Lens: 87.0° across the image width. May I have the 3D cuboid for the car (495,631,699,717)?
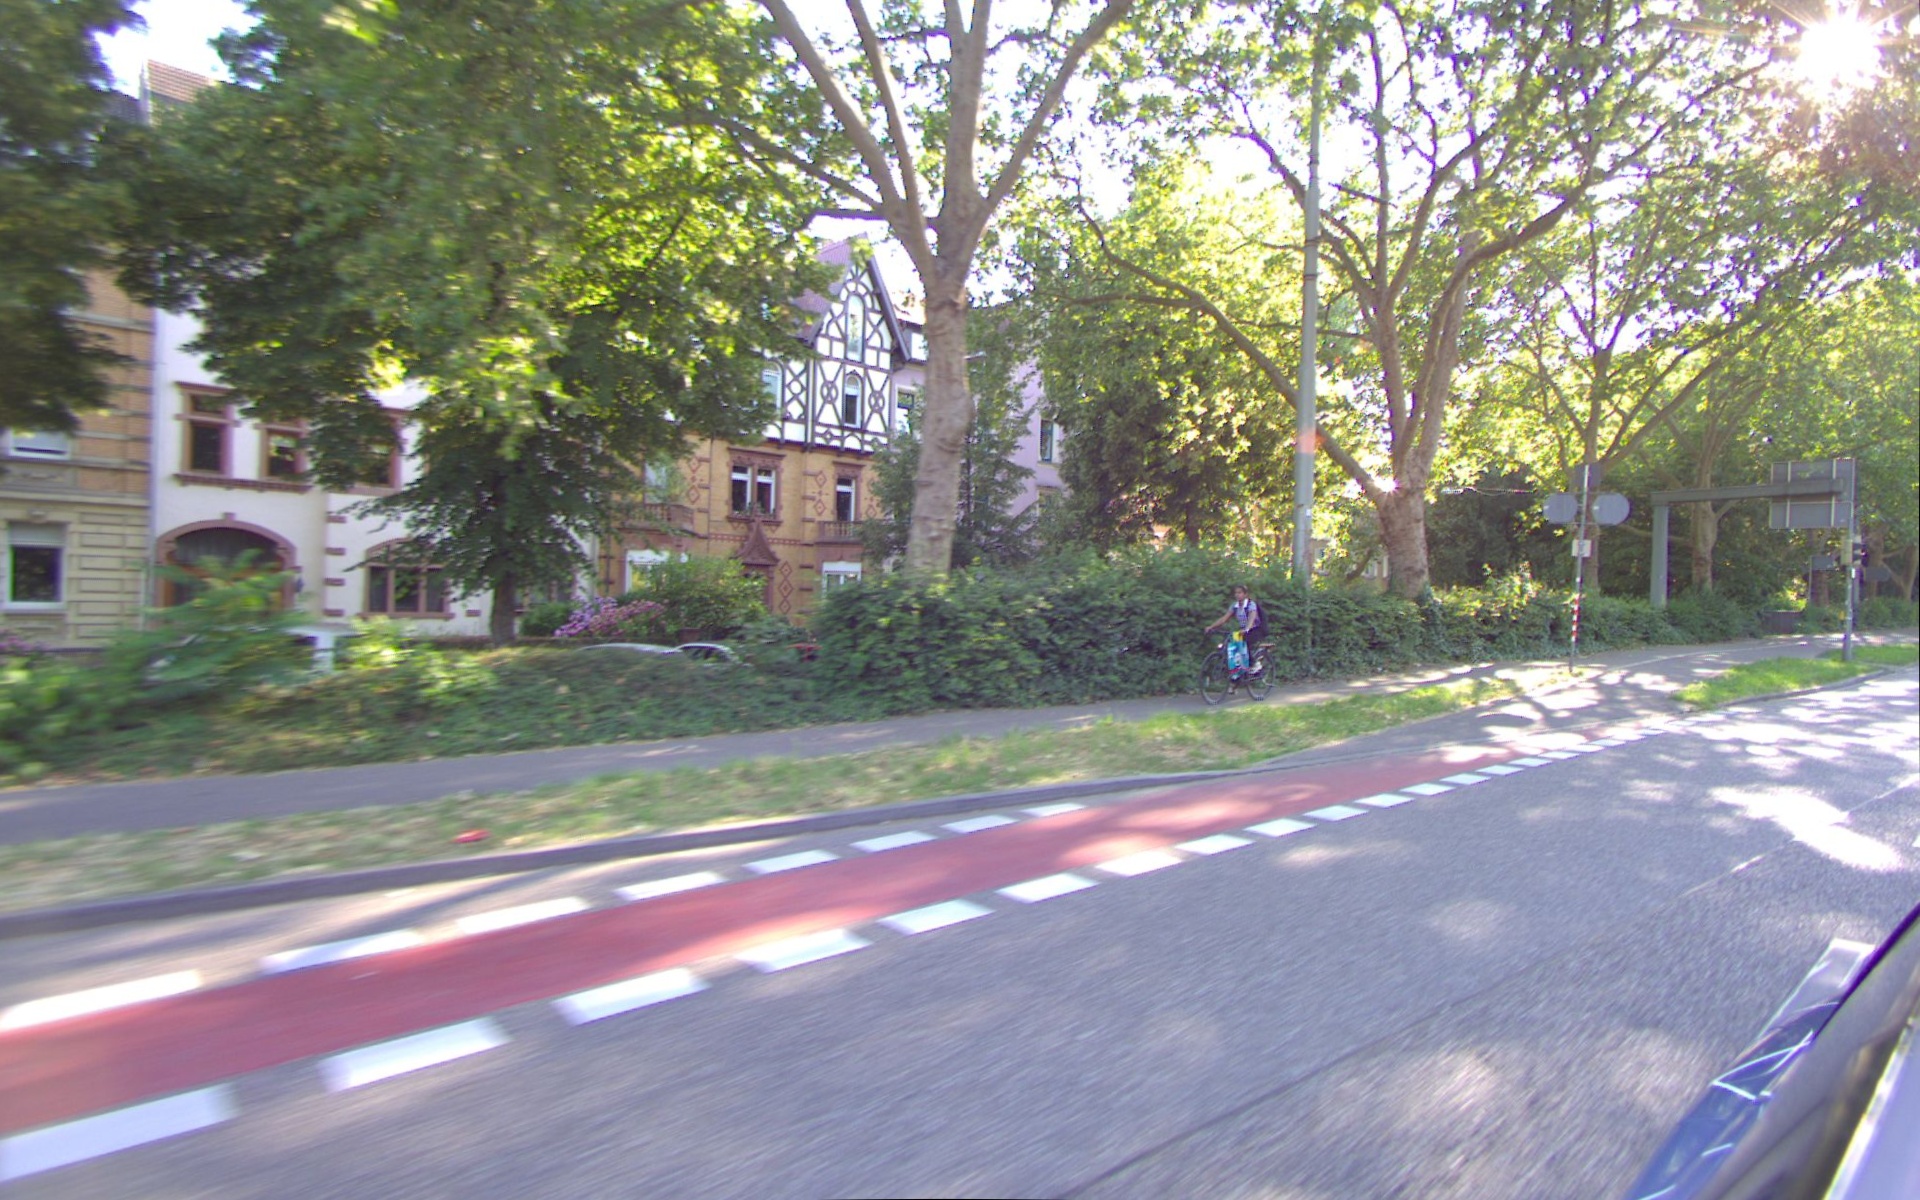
[{"bbox_3d":[-7.803,1.531,21.828,3.871,1.470,1.680,3,1,16],"label":"car"}]

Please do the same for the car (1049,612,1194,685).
[{"bbox_3d":[5.352,1.556,33.475,4.408,2.039,1.984,3,1,20],"label":"car"}]

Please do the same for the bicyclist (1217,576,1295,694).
[{"bbox_3d":[3.988,0.446,13.629,0.639,1.532,0.767,1,1,-41],"label":"bicyclist"}]

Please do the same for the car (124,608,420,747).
[{"bbox_3d":[-12.113,1.256,17.852,4.620,1.990,1.862,3,1,18],"label":"car"}]

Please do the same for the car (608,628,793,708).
[{"bbox_3d":[-6.197,1.566,24.249,3.947,1.529,1.790,3,1,18],"label":"car"}]

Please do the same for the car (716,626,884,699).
[{"bbox_3d":[-4.171,1.588,26.458,3.947,1.529,1.790,3,1,18],"label":"car"}]

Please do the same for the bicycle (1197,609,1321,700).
[{"bbox_3d":[4.072,0.703,13.721,1.769,1.121,0.767,0,1,-41],"label":"bicycle"}]
